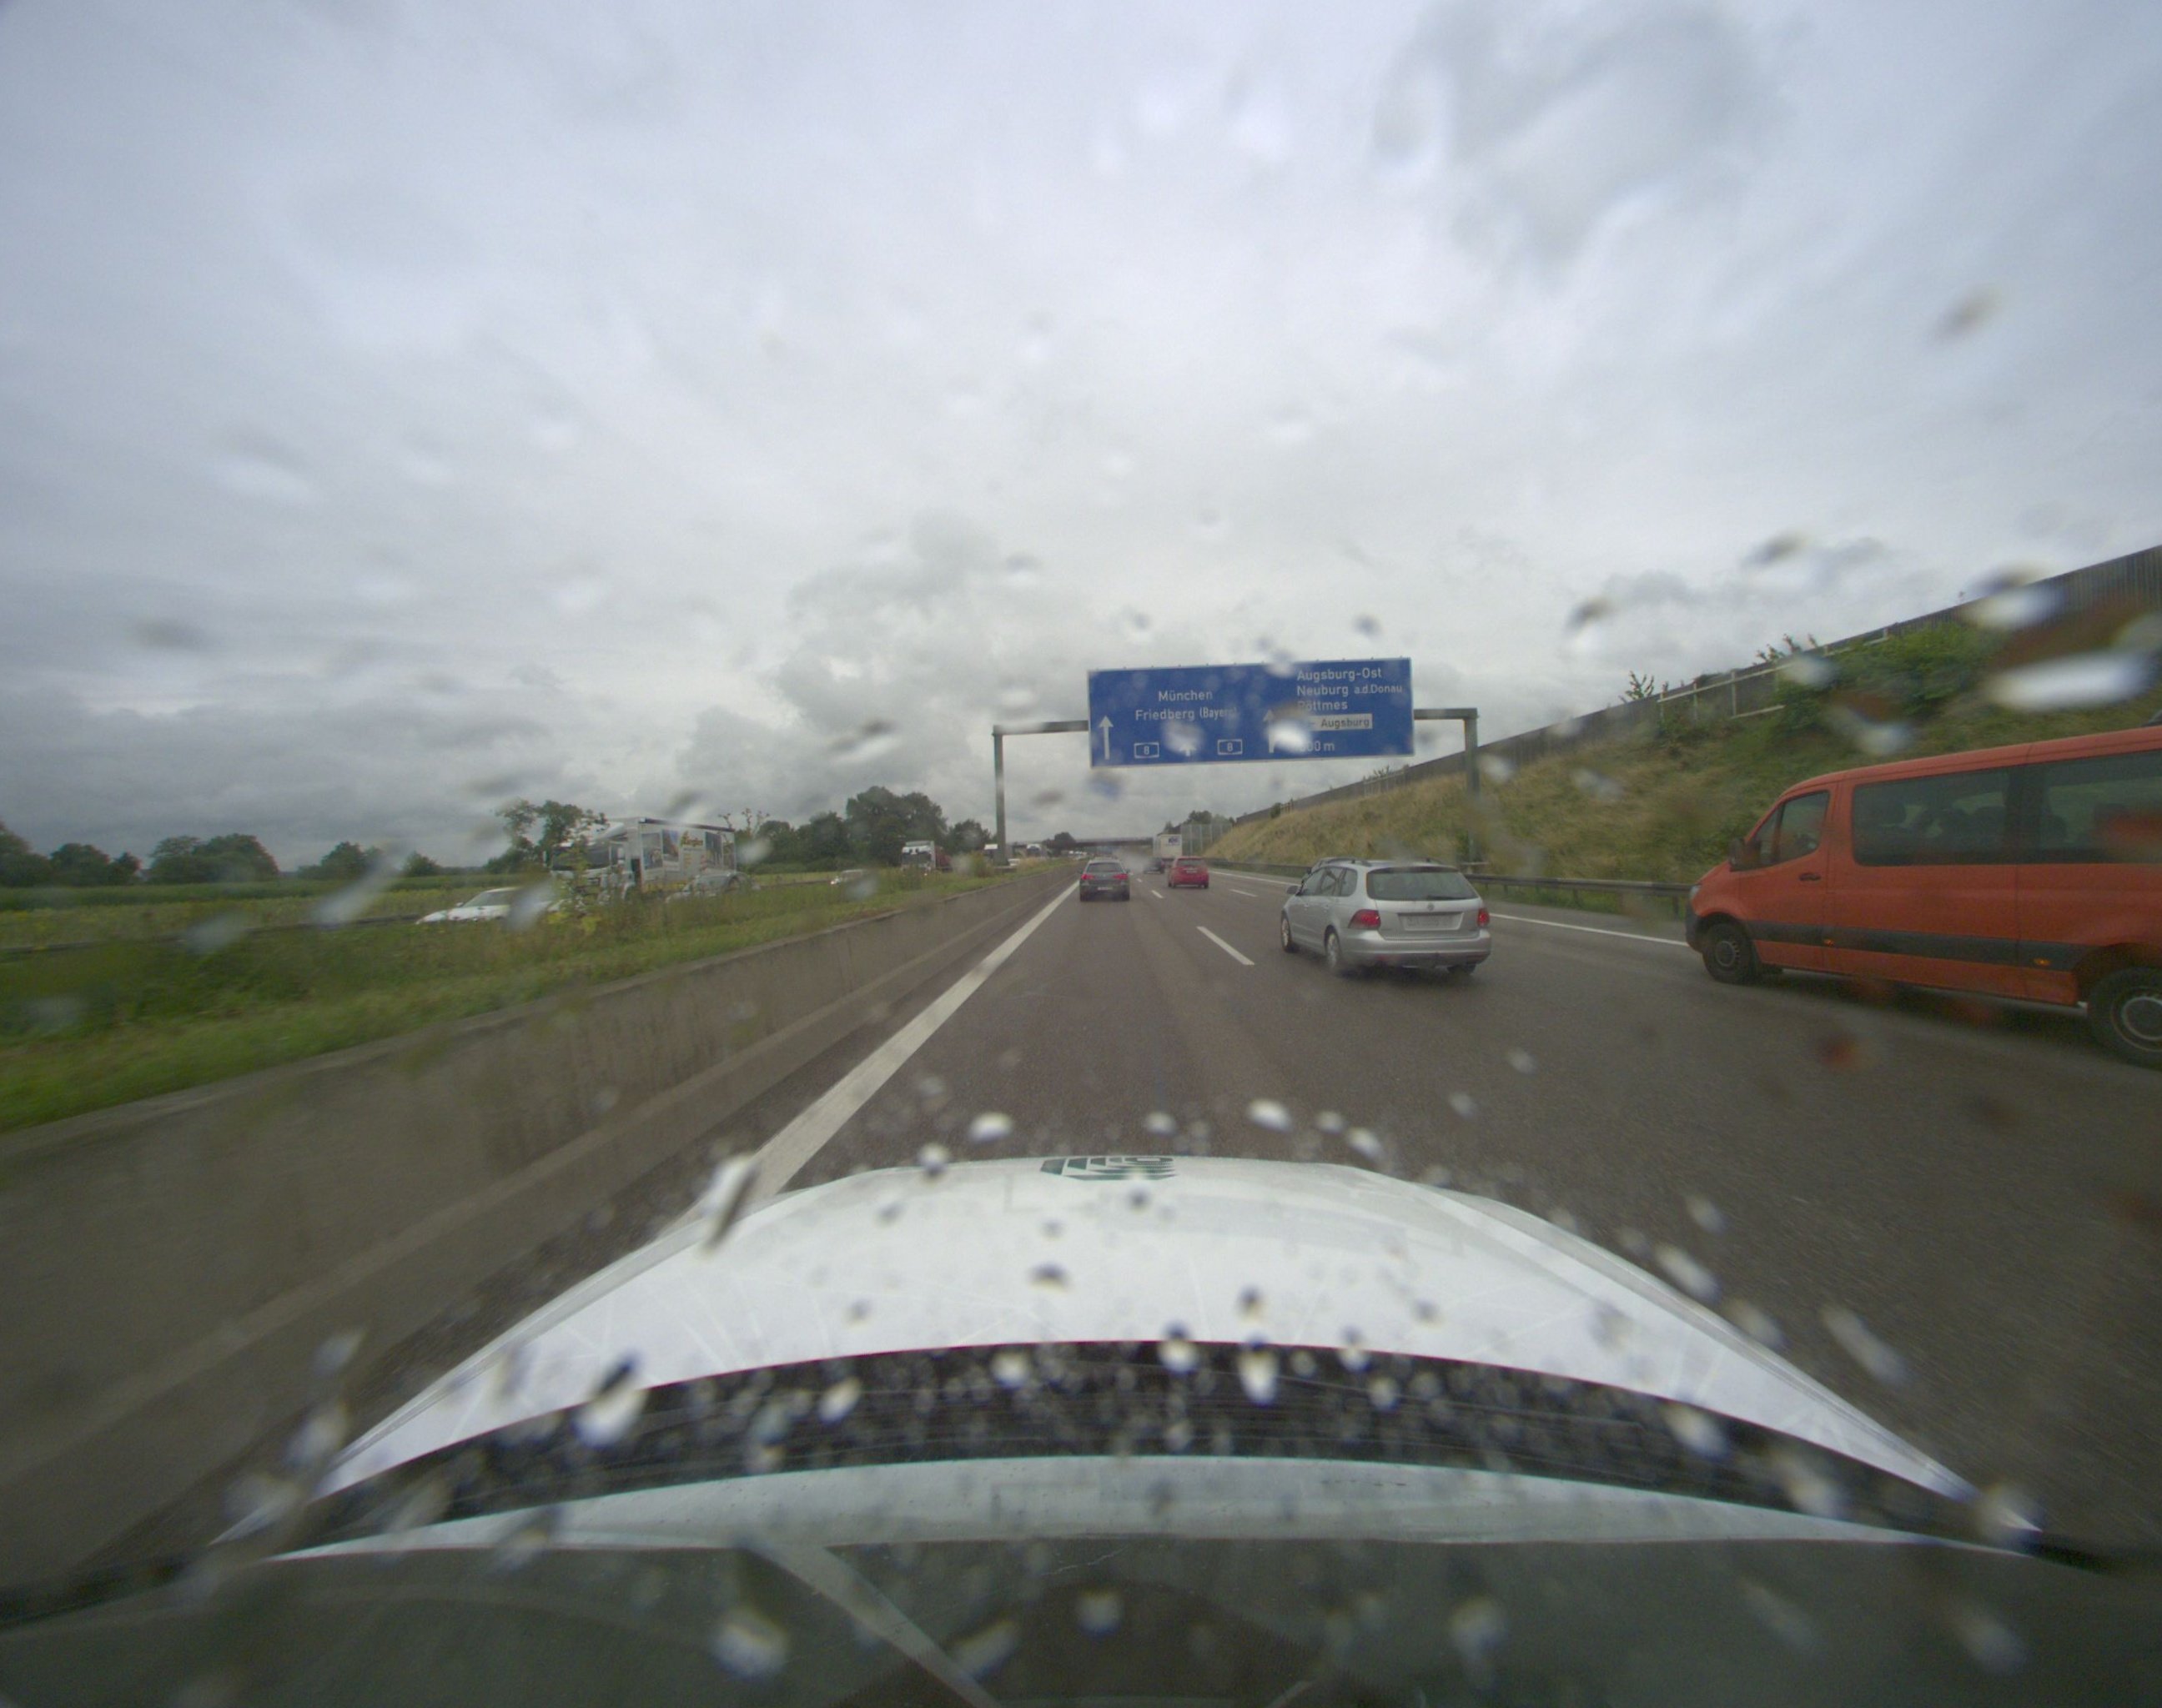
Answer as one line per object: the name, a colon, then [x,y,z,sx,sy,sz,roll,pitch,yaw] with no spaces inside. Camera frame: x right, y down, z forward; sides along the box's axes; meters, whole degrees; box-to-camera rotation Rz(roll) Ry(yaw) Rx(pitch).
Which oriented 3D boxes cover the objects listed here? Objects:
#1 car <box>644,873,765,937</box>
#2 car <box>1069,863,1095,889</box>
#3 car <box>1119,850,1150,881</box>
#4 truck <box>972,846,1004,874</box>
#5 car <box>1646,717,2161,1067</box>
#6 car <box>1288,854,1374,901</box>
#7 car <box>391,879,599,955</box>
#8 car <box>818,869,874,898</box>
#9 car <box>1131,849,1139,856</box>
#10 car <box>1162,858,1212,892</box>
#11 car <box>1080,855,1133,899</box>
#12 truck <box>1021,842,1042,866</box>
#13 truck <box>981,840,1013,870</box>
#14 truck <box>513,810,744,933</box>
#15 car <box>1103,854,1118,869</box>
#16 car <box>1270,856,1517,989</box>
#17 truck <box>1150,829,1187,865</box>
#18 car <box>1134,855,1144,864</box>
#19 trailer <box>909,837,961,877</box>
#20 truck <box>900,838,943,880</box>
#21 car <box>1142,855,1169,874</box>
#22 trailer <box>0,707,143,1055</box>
car: [-11.702,1.512,25.635,1.747,1.707,4.002,-2,0,2]
car: [0.092,1.514,57.992,1.748,1.750,4.001,0,-1,1]
car: [3.426,0.720,52.702,1.819,1.850,4.002,-2,0,2]
truck: [-10.091,0.667,88.751,2.302,2.908,7.427,0,-1,2]
car: [8.206,0.231,7.288,2.078,2.315,6.183,-1,0,1]
car: [8.018,0.734,26.434,1.696,1.401,3.876,0,-1,1]
car: [-15.615,1.605,22.145,1.876,1.615,5.015,-2,0,1]
car: [-14.739,1.814,51.305,1.986,1.717,4.839,0,-1,2]
car: [14.942,-0.544,226.747,1.986,1.812,4.229,-3,0,2]
car: [5.056,0.967,39.460,1.884,1.446,4.685,-1,0,1]
car: [0.870,0.791,29.171,1.762,1.467,4.000,0,-1,0]
truck: [-8.535,0.051,140.523,3.080,3.976,6.374,0,-1,2]
truck: [-12.415,0.140,121.258,3.601,4.275,7.595,0,-1,2]
truck: [-19.020,0.685,35.764,3.500,4.484,11.786,0,-1,0]
car: [3.837,0.983,106.696,1.699,1.796,3.854,-3,0,0]
car: [3.991,0.767,11.289,1.735,1.425,4.518,-2,0,1]
truck: [11.305,-0.740,106.953,3.271,4.295,19.038,0,-1,2]
car: [11.237,1.009,157.648,1.839,1.687,4.000,0,-1,1]
trailer: [-14.510,0.212,81.961,2.631,3.725,12.200,0,1,2]
truck: [-14.742,0.392,75.553,2.631,3.725,5.875,0,1,2]
car: [6.332,0.912,69.661,1.914,1.522,4.623,-1,0,1]
trailer: [-16.537,0.366,6.964,3.375,4.768,11.682,0,0,1]
